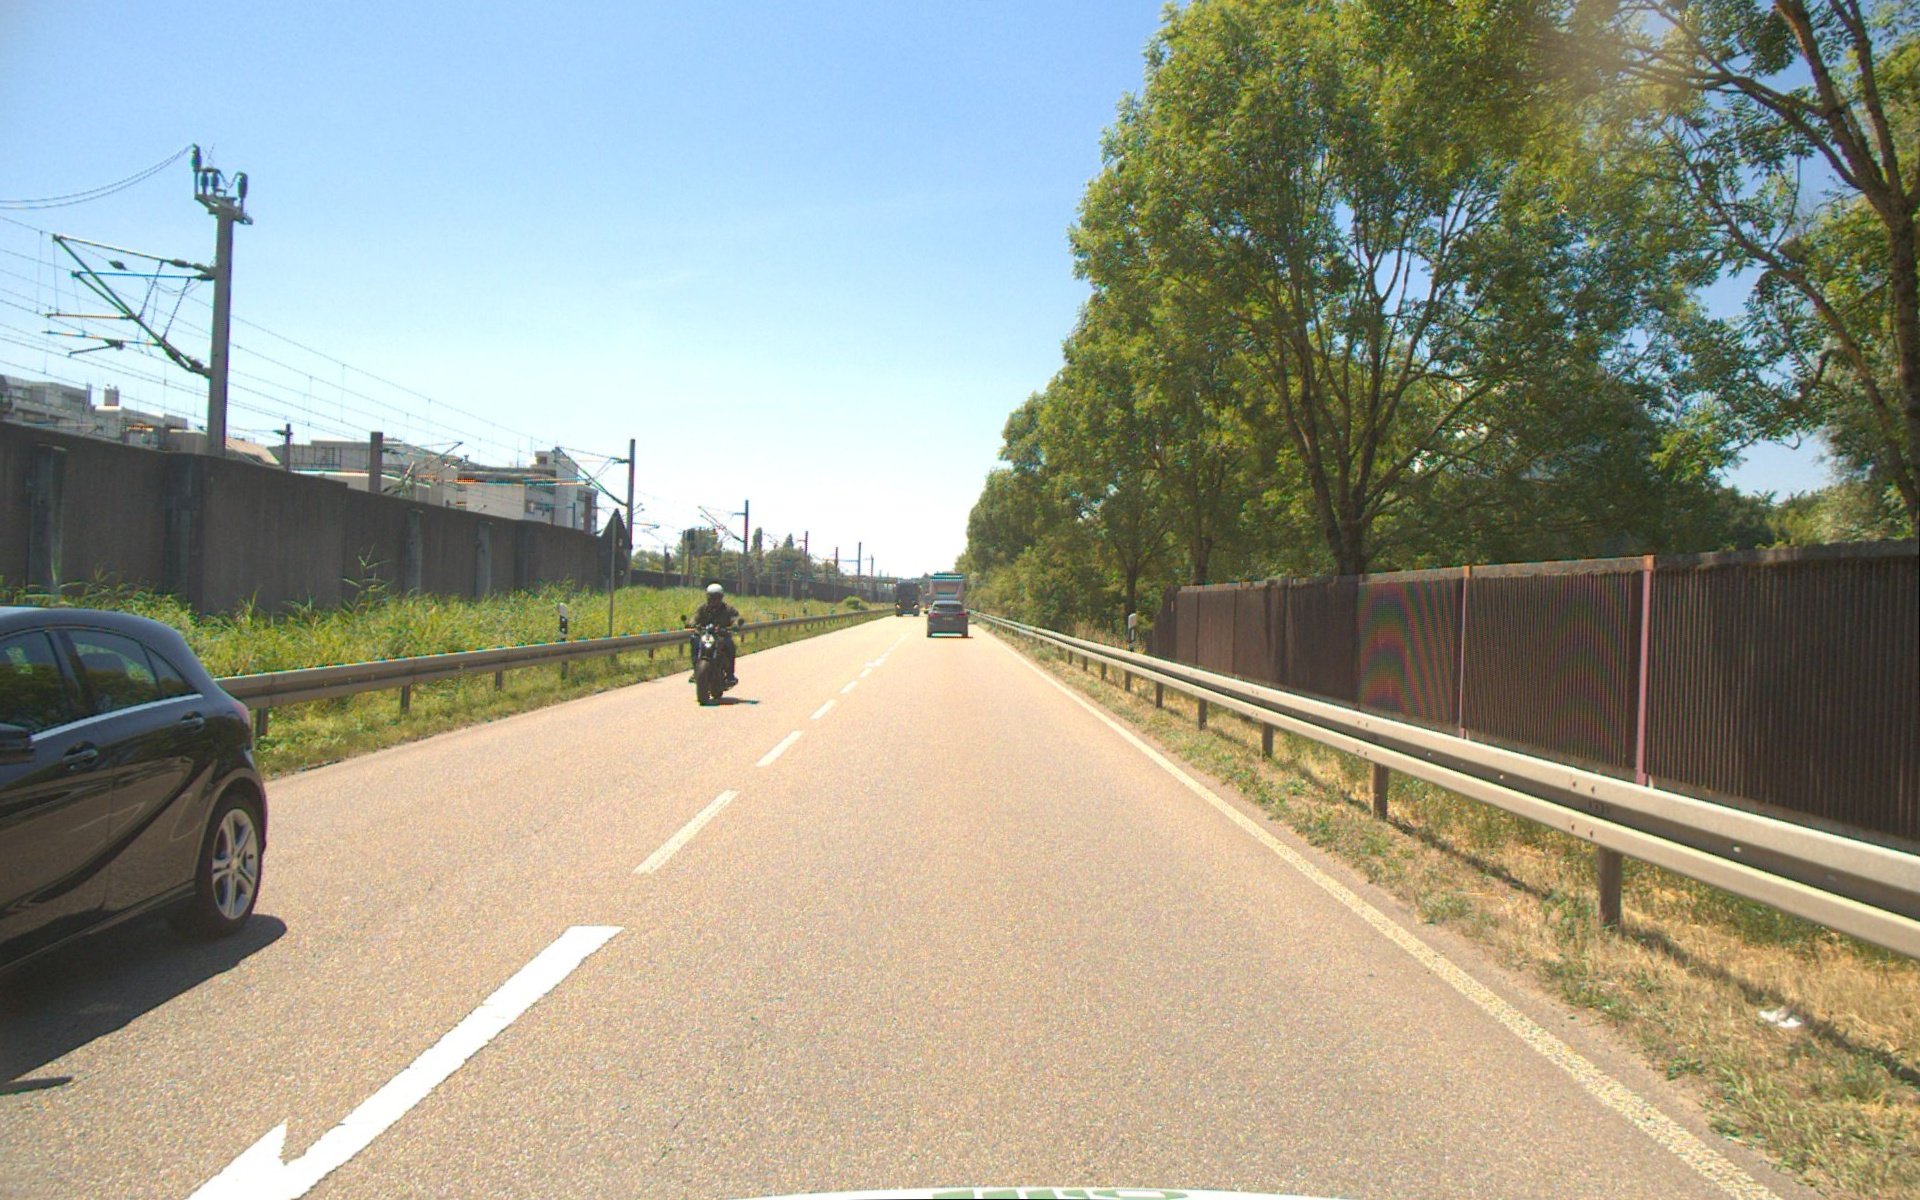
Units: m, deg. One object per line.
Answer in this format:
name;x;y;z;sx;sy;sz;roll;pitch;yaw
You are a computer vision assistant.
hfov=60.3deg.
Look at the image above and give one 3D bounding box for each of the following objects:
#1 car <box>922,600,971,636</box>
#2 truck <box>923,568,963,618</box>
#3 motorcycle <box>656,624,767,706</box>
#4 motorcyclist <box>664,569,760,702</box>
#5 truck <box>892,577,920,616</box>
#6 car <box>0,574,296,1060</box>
car;-0.608;0.762;71.894;1.954;1.534;3.998;1;0;-3
truck;-1.240;-0.449;120.676;2.714;3.485;10.817;1;0;-1
motorcycle;-3.634;0.926;24.550;1.212;1.091;3.128;1;0;-1
motorcyclist;-3.639;0.514;24.410;1.228;1.897;1.245;1;0;-1
truck;-5.801;-0.331;179.062;2.740;4.047;10.498;-1;0;-1
car;-4.031;0.689;5.755;1.953;1.534;3.998;0;0;-2
